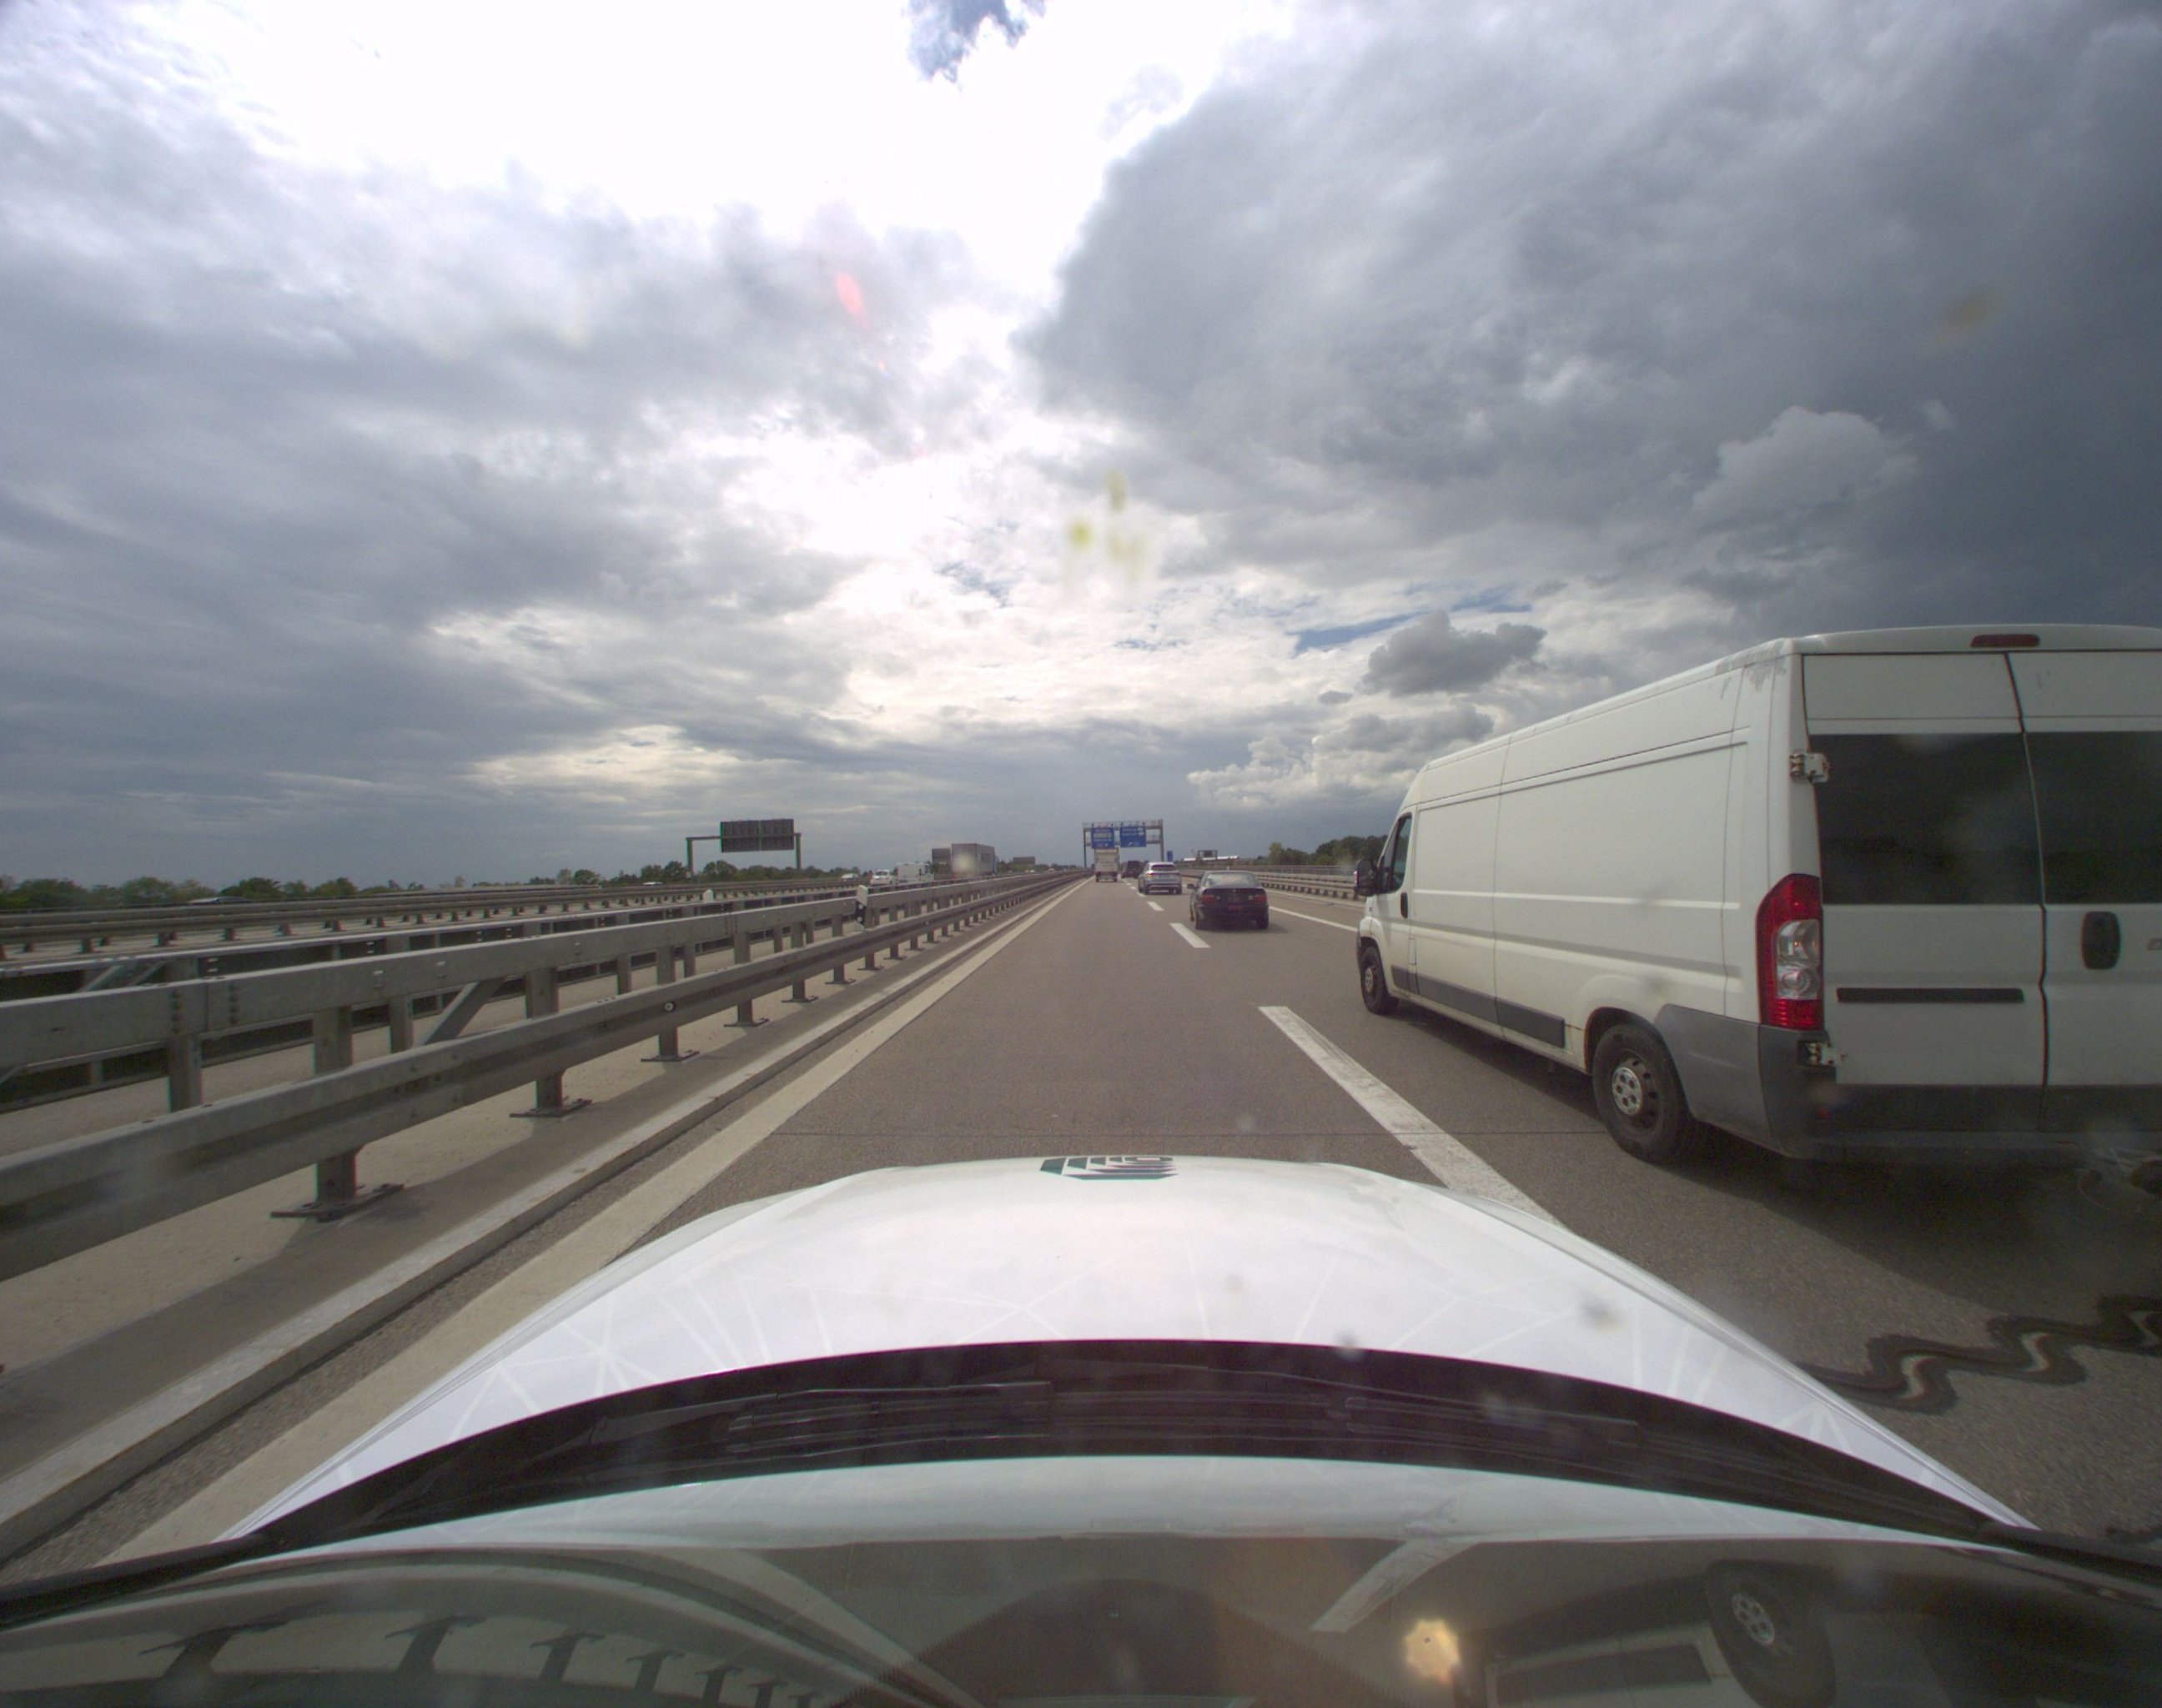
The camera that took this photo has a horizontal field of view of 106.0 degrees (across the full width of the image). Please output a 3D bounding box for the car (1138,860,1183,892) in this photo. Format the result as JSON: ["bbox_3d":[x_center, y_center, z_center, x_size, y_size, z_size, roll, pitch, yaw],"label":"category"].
[{"bbox_3d":[4.019,1.091,41.524,1.814,1.514,3.997,0,-1,-1],"label":"car"}]

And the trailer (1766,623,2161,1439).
[{"bbox_3d":[3.567,0.420,0.854,1.848,2.014,4.632,0,-1,1],"label":"trailer"}]

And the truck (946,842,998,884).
[{"bbox_3d":[-11.377,0.997,87.050,3.172,4.019,16.075,0,-1,1],"label":"truck"}]

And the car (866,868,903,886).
[{"bbox_3d":[-15.952,1.842,66.341,1.790,1.420,4.003,0,-1,3],"label":"car"}]

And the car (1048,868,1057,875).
[{"bbox_3d":[-6.985,4.184,196.998,1.820,1.563,4.003,-1,-1,3],"label":"car"}]

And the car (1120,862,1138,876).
[{"bbox_3d":[5.471,1.729,93.443,1.878,1.552,4.001,0,-1,2],"label":"car"}]

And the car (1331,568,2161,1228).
[{"bbox_3d":[3.804,0.192,6.109,2.106,2.454,6.153,0,-1,1],"label":"car"}]

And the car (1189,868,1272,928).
[{"bbox_3d":[3.532,0.993,19.853,1.695,1.281,4.373,0,-1,6],"label":"car"}]

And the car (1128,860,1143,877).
[{"bbox_3d":[7.763,2.033,115.965,1.899,2.262,4.650,0,-1,1],"label":"car"}]

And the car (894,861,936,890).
[{"bbox_3d":[-11.966,1.546,58.939,1.986,2.014,4.376,0,-1,2],"label":"car"}]

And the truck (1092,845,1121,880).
[{"bbox_3d":[2.452,0.913,77.787,2.559,3.126,8.636,0,-2,2],"label":"truck"}]
